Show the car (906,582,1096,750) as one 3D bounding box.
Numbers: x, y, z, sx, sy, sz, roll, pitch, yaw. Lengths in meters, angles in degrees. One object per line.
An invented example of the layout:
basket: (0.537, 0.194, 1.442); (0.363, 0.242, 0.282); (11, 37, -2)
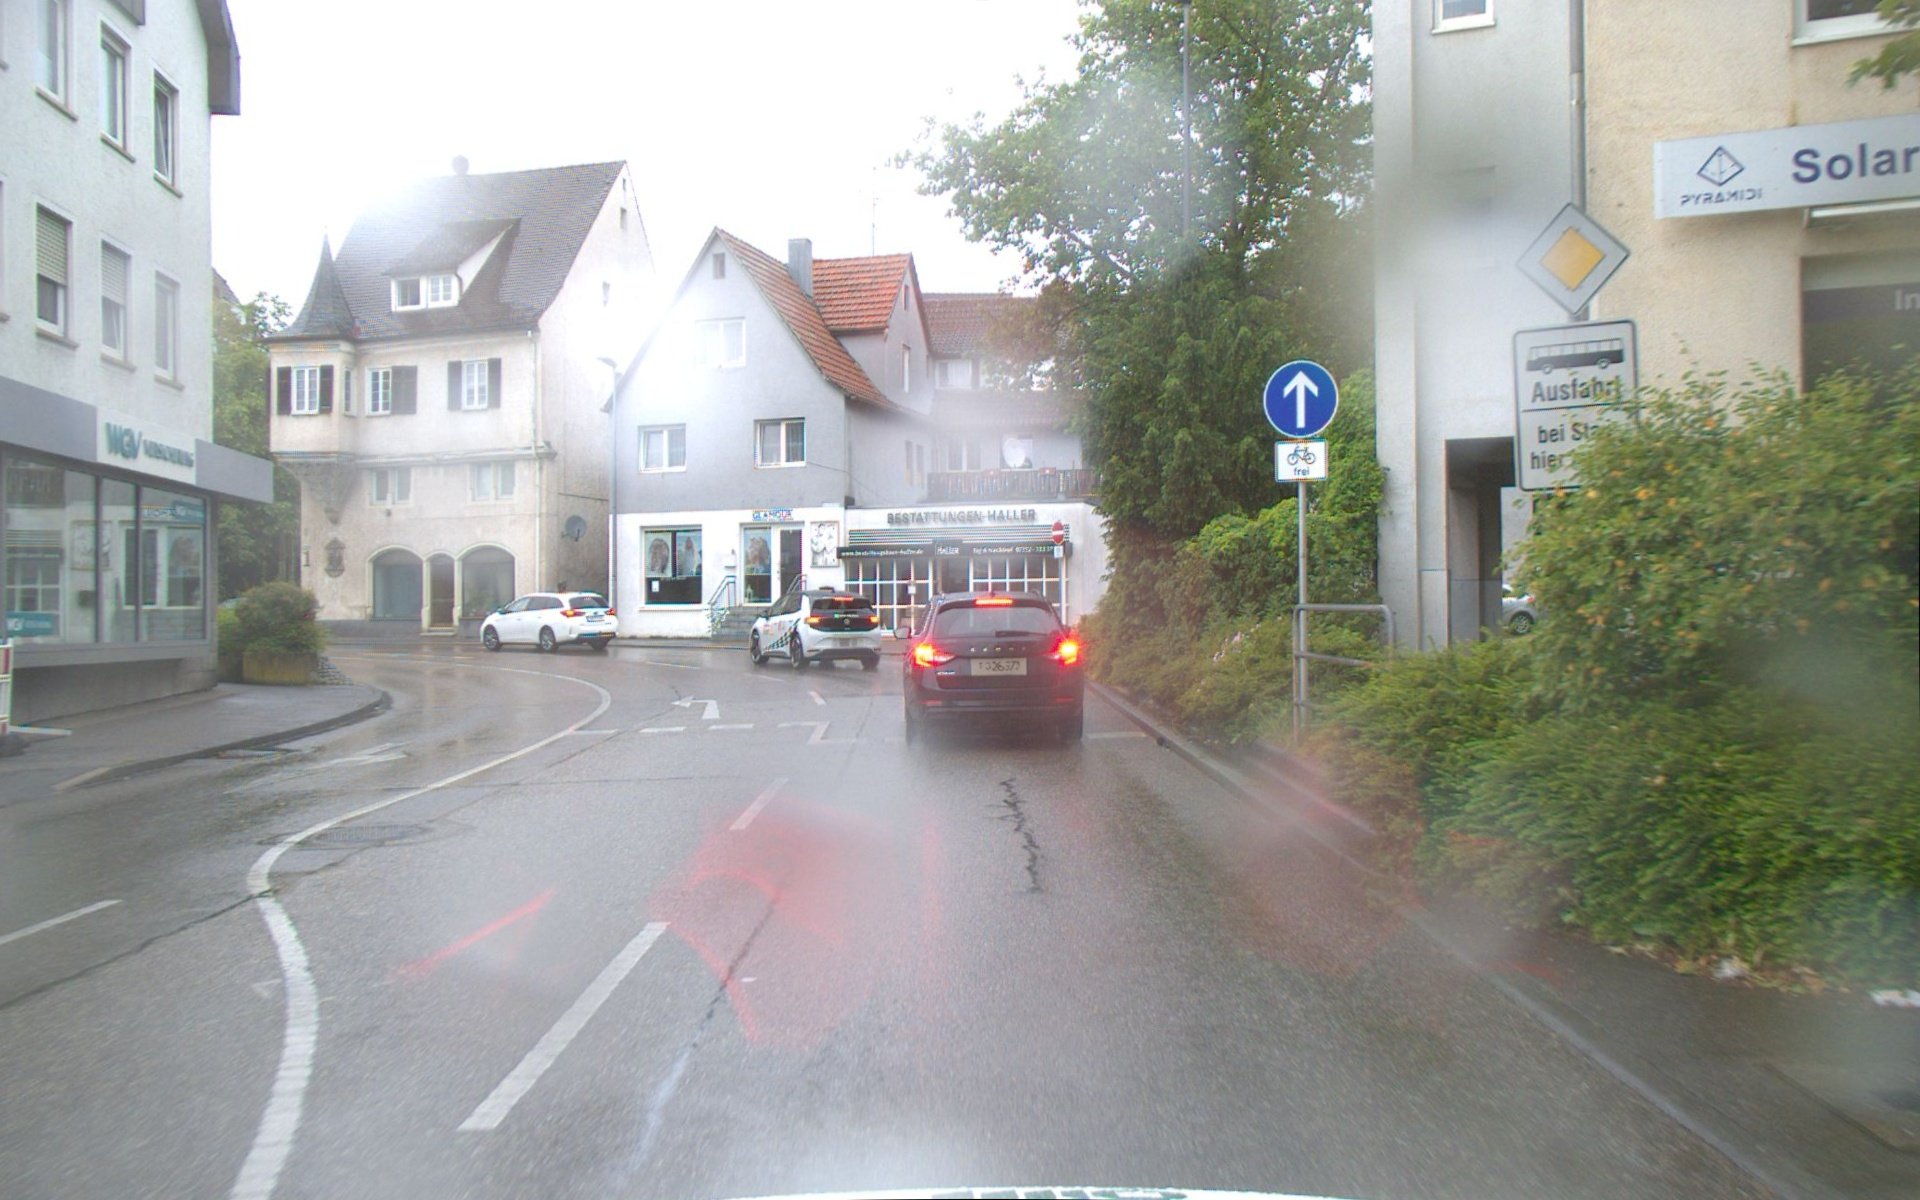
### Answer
car: (0.314, 0.584, 17.389); (1.697, 1.475, 4.239); (-1, 1, -3)

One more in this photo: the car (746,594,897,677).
car: (-2.949, 0.677, 34.309); (1.766, 1.543, 4.207); (-2, 1, -25)

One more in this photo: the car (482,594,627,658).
car: (-10.584, 0.631, 43.038); (4.093, 1.491, 1.779); (1, 2, 44)
